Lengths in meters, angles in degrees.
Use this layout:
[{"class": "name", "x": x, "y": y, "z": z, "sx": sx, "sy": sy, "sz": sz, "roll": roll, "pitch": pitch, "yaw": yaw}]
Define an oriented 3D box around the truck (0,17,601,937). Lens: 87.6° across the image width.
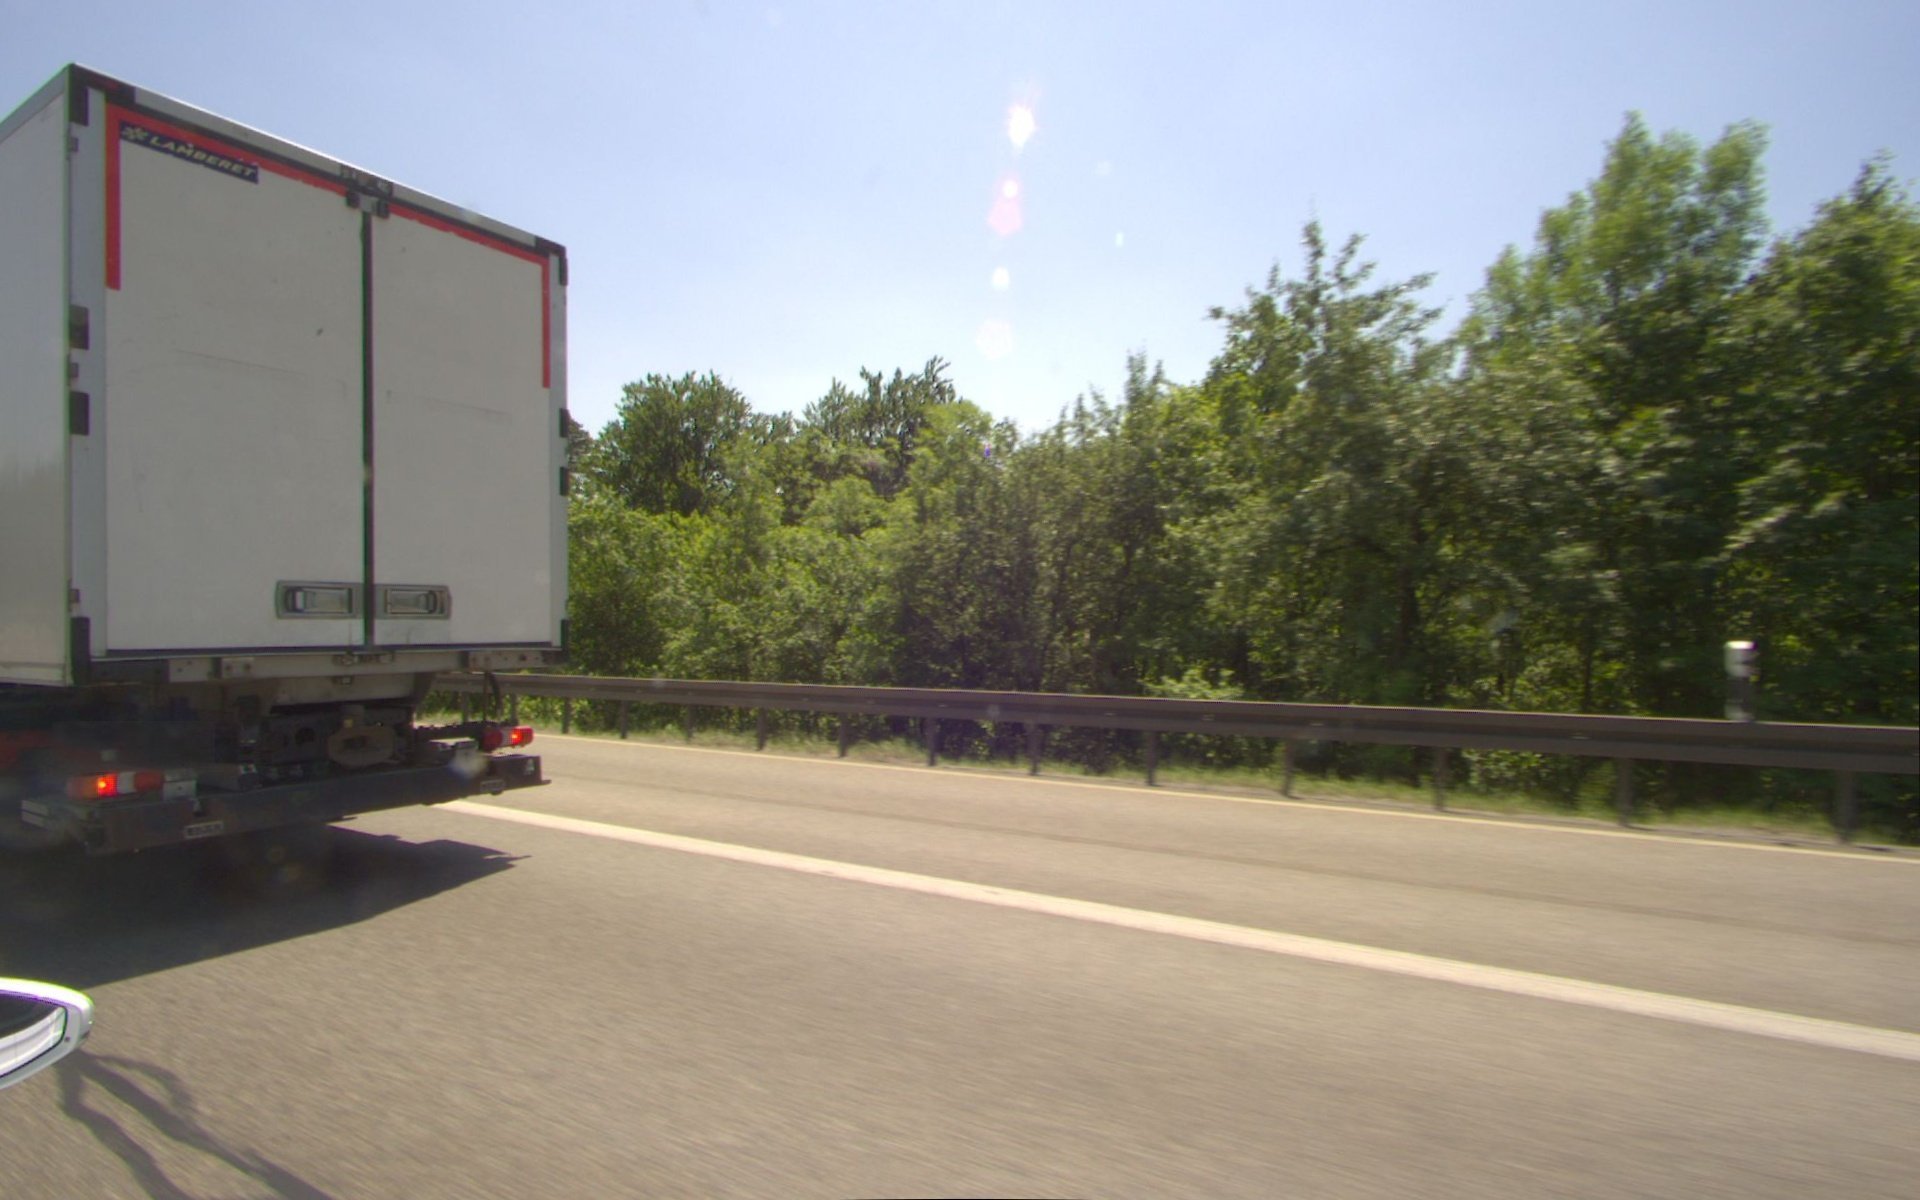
[{"class": "truck", "x": -7.186, "y": -0.461, "z": 8.056, "sx": 9.642, "sy": 3.929, "sz": 2.681, "roll": -1, "pitch": 2, "yaw": 33}]
